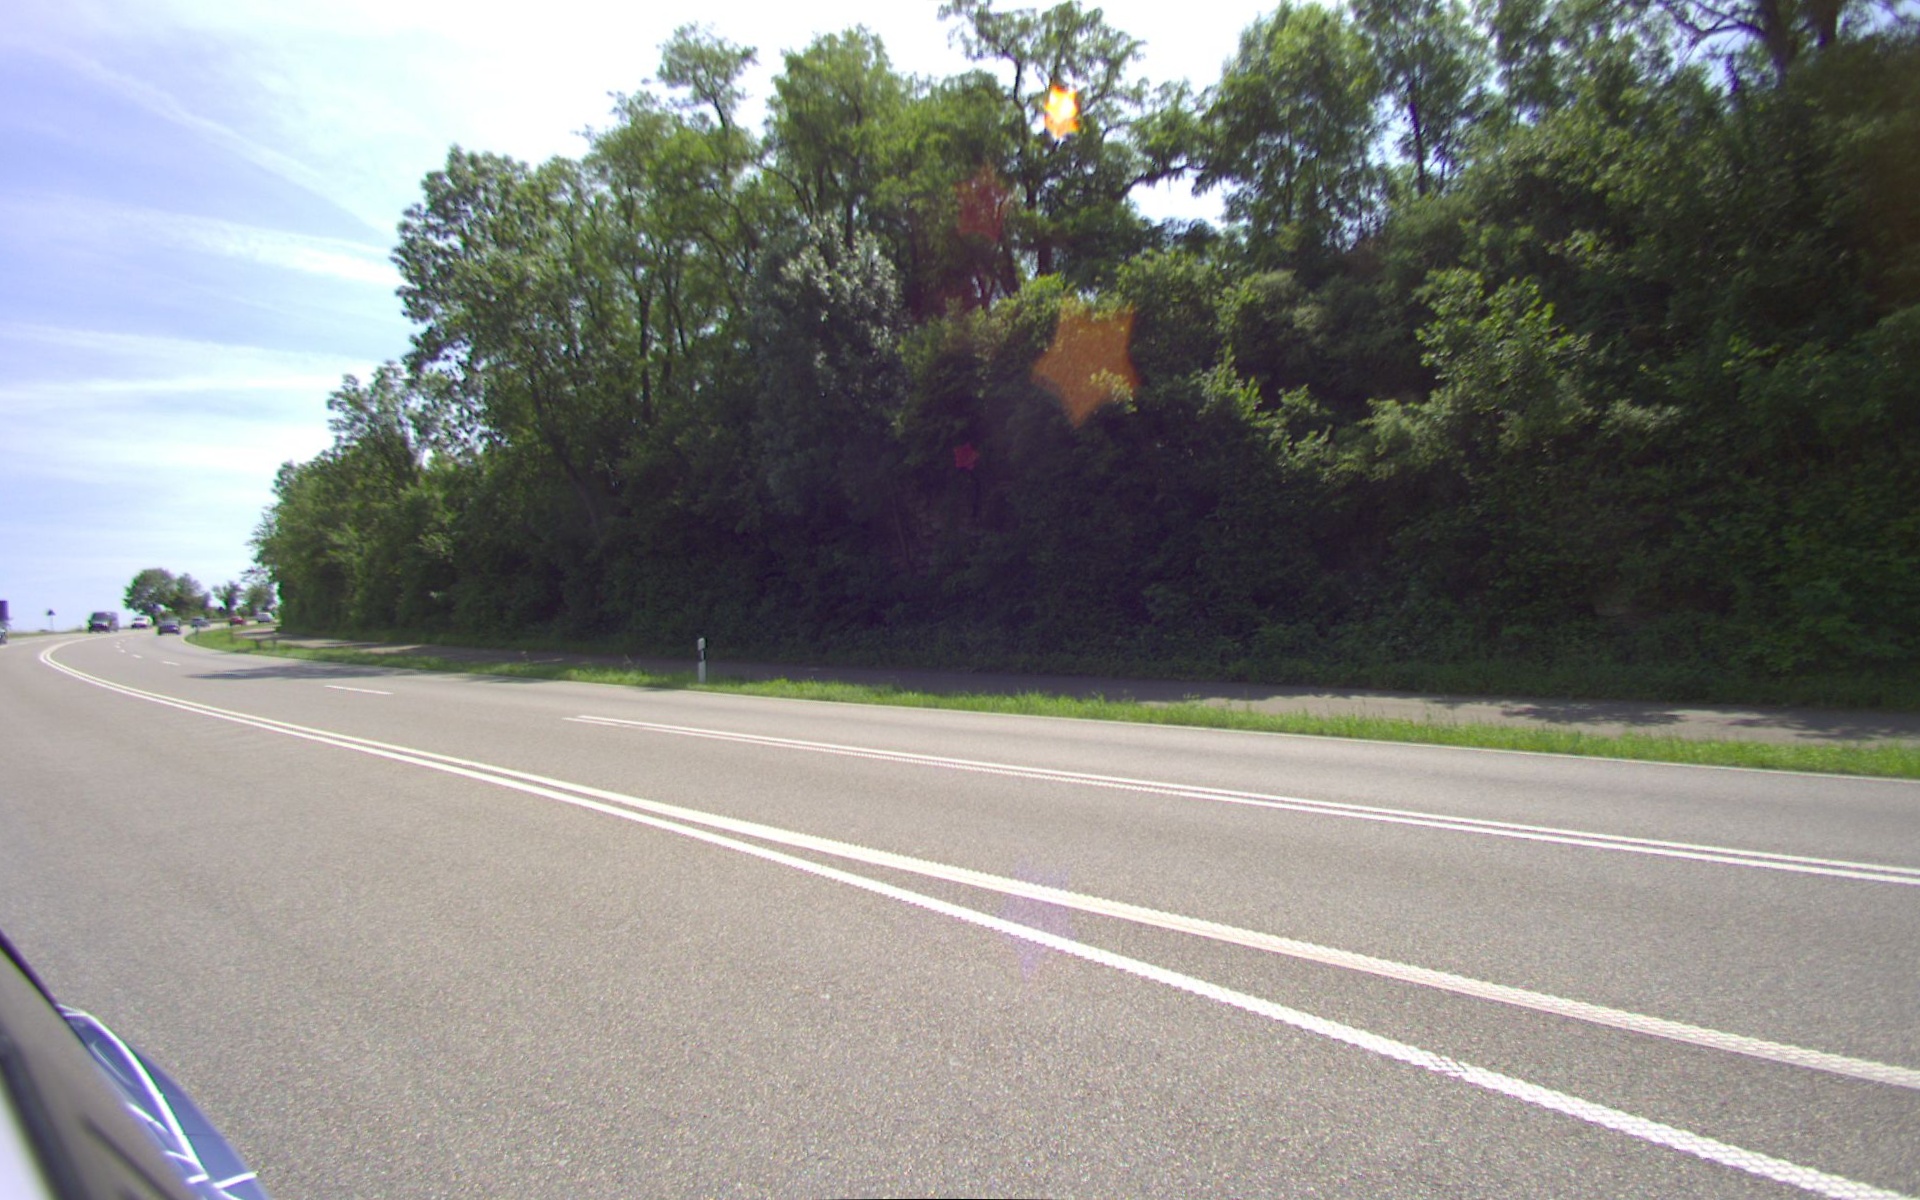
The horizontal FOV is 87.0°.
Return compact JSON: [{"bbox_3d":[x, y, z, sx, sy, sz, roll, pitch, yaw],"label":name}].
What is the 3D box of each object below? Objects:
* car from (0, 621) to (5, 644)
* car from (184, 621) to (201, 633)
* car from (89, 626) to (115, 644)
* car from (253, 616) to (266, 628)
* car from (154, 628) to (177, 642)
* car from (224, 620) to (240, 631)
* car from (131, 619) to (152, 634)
[{"bbox_3d":[-73.235,2.465,75.909,1.968,1.741,4.008,0,0,-38],"label":"car"},{"bbox_3d":[-112.809,4.009,148.732,1.929,1.741,3.920,0,-1,-36],"label":"car"},{"bbox_3d":[-104.684,4.265,123.463,1.966,2.029,4.011,0,-1,-33],"label":"car"},{"bbox_3d":[-125.231,3.881,180.912,1.788,2.029,3.881,0,0,-33],"label":"car"},{"bbox_3d":[-82.245,3.596,104.769,1.779,1.398,3.878,0,-1,-37],"label":"car"},{"bbox_3d":[-112.592,3.961,156.592,1.967,1.687,4.009,0,0,-36],"label":"car"},{"bbox_3d":[-116.962,3.771,144.634,1.822,2.029,3.883,0,0,-33],"label":"car"}]
